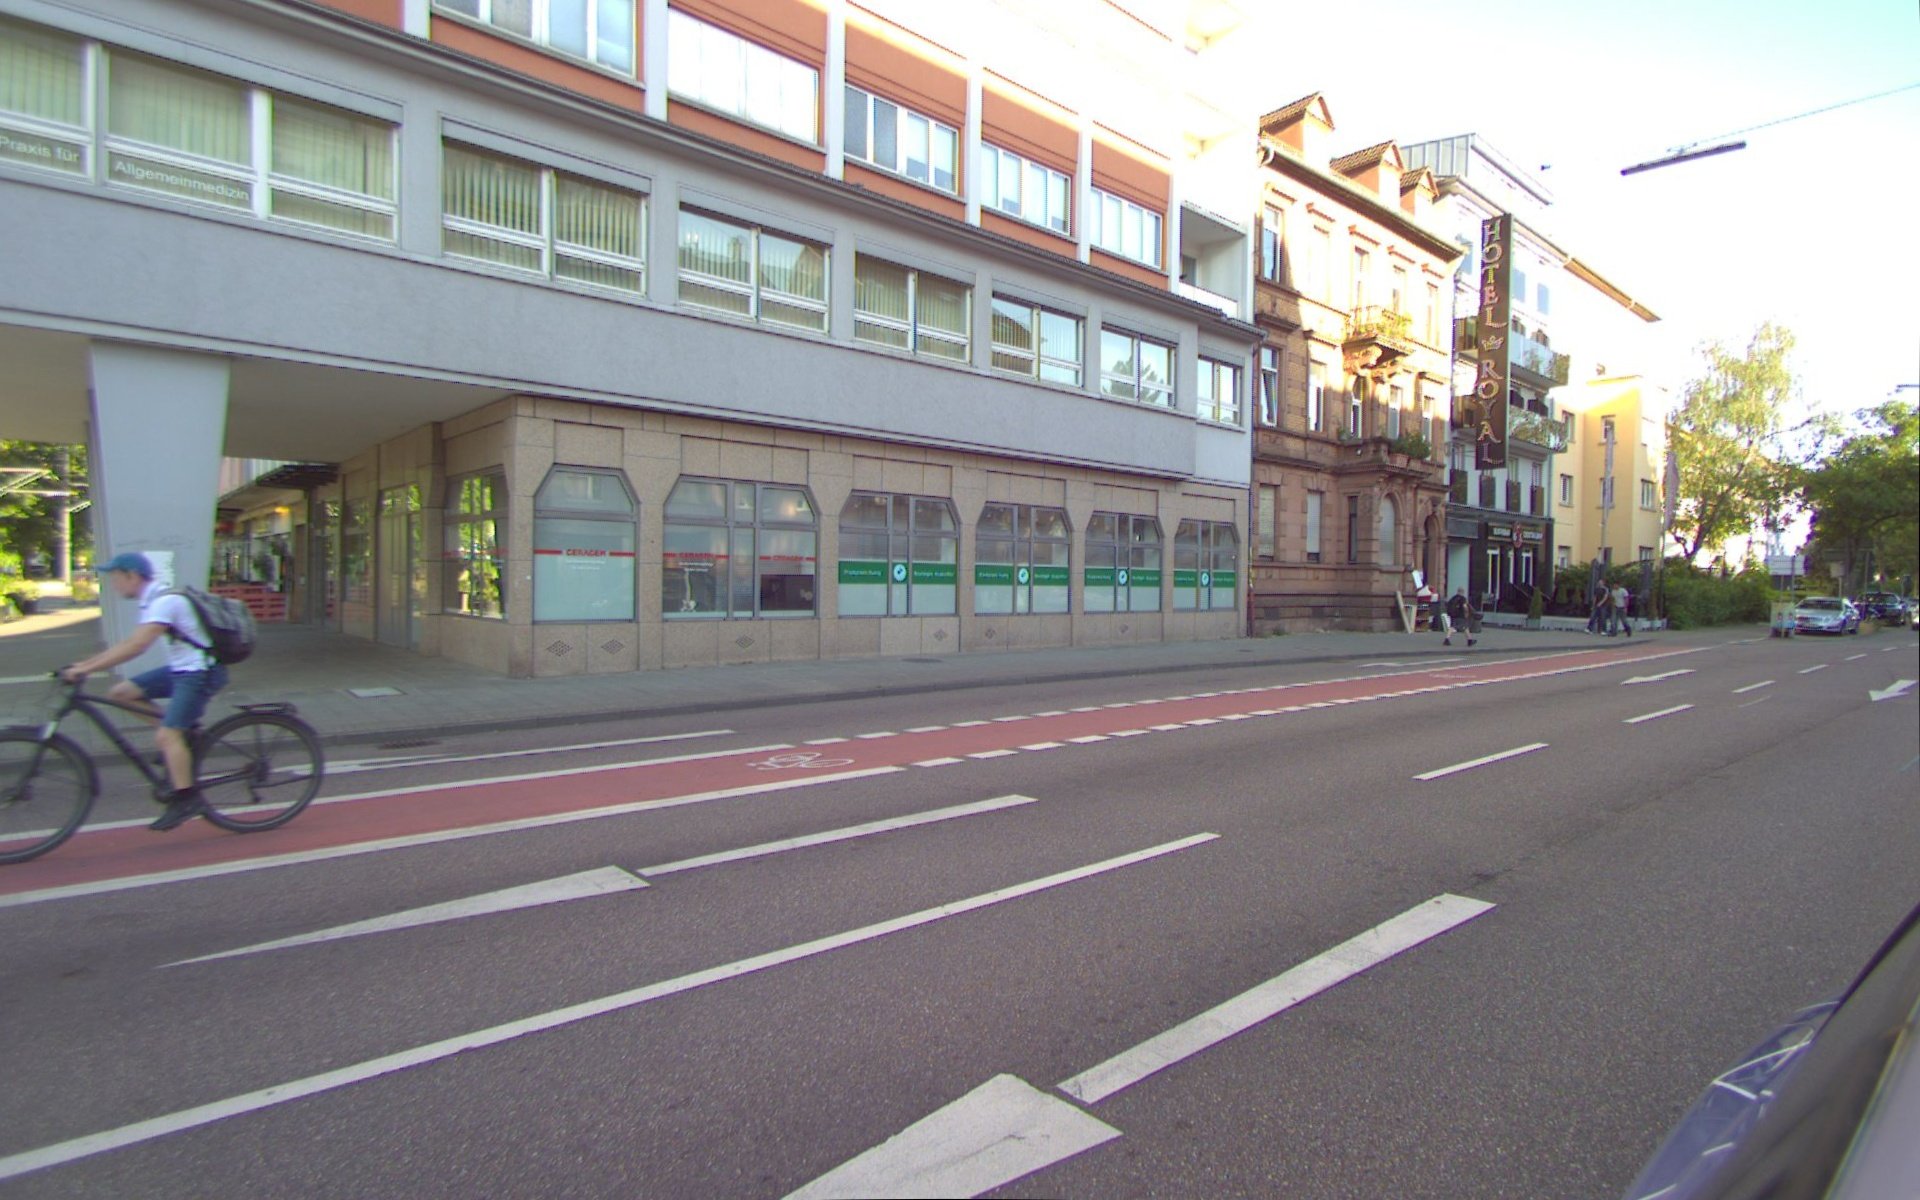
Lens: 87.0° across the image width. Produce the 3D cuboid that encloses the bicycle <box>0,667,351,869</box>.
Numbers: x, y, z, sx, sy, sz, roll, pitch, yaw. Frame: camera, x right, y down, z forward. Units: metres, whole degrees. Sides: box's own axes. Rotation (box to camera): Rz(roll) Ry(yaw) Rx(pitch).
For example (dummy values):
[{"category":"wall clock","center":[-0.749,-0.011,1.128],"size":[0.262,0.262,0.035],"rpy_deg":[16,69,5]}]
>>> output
[{"category":"bicycle","center":[-4.744,0.929,5.936],"size":[1.943,0.955,0.593],"rpy_deg":[0,0,-41]}]

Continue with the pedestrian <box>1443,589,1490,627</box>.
[{"category":"pedestrian","center":[16.038,0.232,32.041],"size":[0.909,1.150,1.098],"rpy_deg":[0,1,-43]}]

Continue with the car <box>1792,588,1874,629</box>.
[{"category":"car","center":[34.945,0.306,40.488],"size":[4.003,1.536,1.904],"rpy_deg":[0,1,-41]}]

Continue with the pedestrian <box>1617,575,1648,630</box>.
[{"category":"pedestrian","center":[21.688,0.076,32.637],"size":[0.666,1.747,0.995],"rpy_deg":[2,1,43]}]

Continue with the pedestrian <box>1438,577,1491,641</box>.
[{"category":"pedestrian","center":[13.431,0.237,26.961],"size":[0.990,1.621,0.740],"rpy_deg":[1,3,-28]}]

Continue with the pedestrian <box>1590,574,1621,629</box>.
[{"category":"pedestrian","center":[21.288,0.042,33.360],"size":[0.666,1.747,0.995],"rpy_deg":[2,1,43]}]

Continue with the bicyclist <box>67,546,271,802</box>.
[{"category":"bicyclist","center":[-4.673,0.400,6.002],"size":[0.913,1.386,0.593],"rpy_deg":[0,-1,-41]}]

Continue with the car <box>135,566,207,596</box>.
[{"category":"car","center":[-42.388,-1.044,54.476],"size":[1.923,1.575,3.882],"rpy_deg":[0,1,-20]}]

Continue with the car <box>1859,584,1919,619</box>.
[{"category":"car","center":[46.653,0.044,50.681],"size":[4.121,1.645,1.945],"rpy_deg":[0,1,-42]}]
